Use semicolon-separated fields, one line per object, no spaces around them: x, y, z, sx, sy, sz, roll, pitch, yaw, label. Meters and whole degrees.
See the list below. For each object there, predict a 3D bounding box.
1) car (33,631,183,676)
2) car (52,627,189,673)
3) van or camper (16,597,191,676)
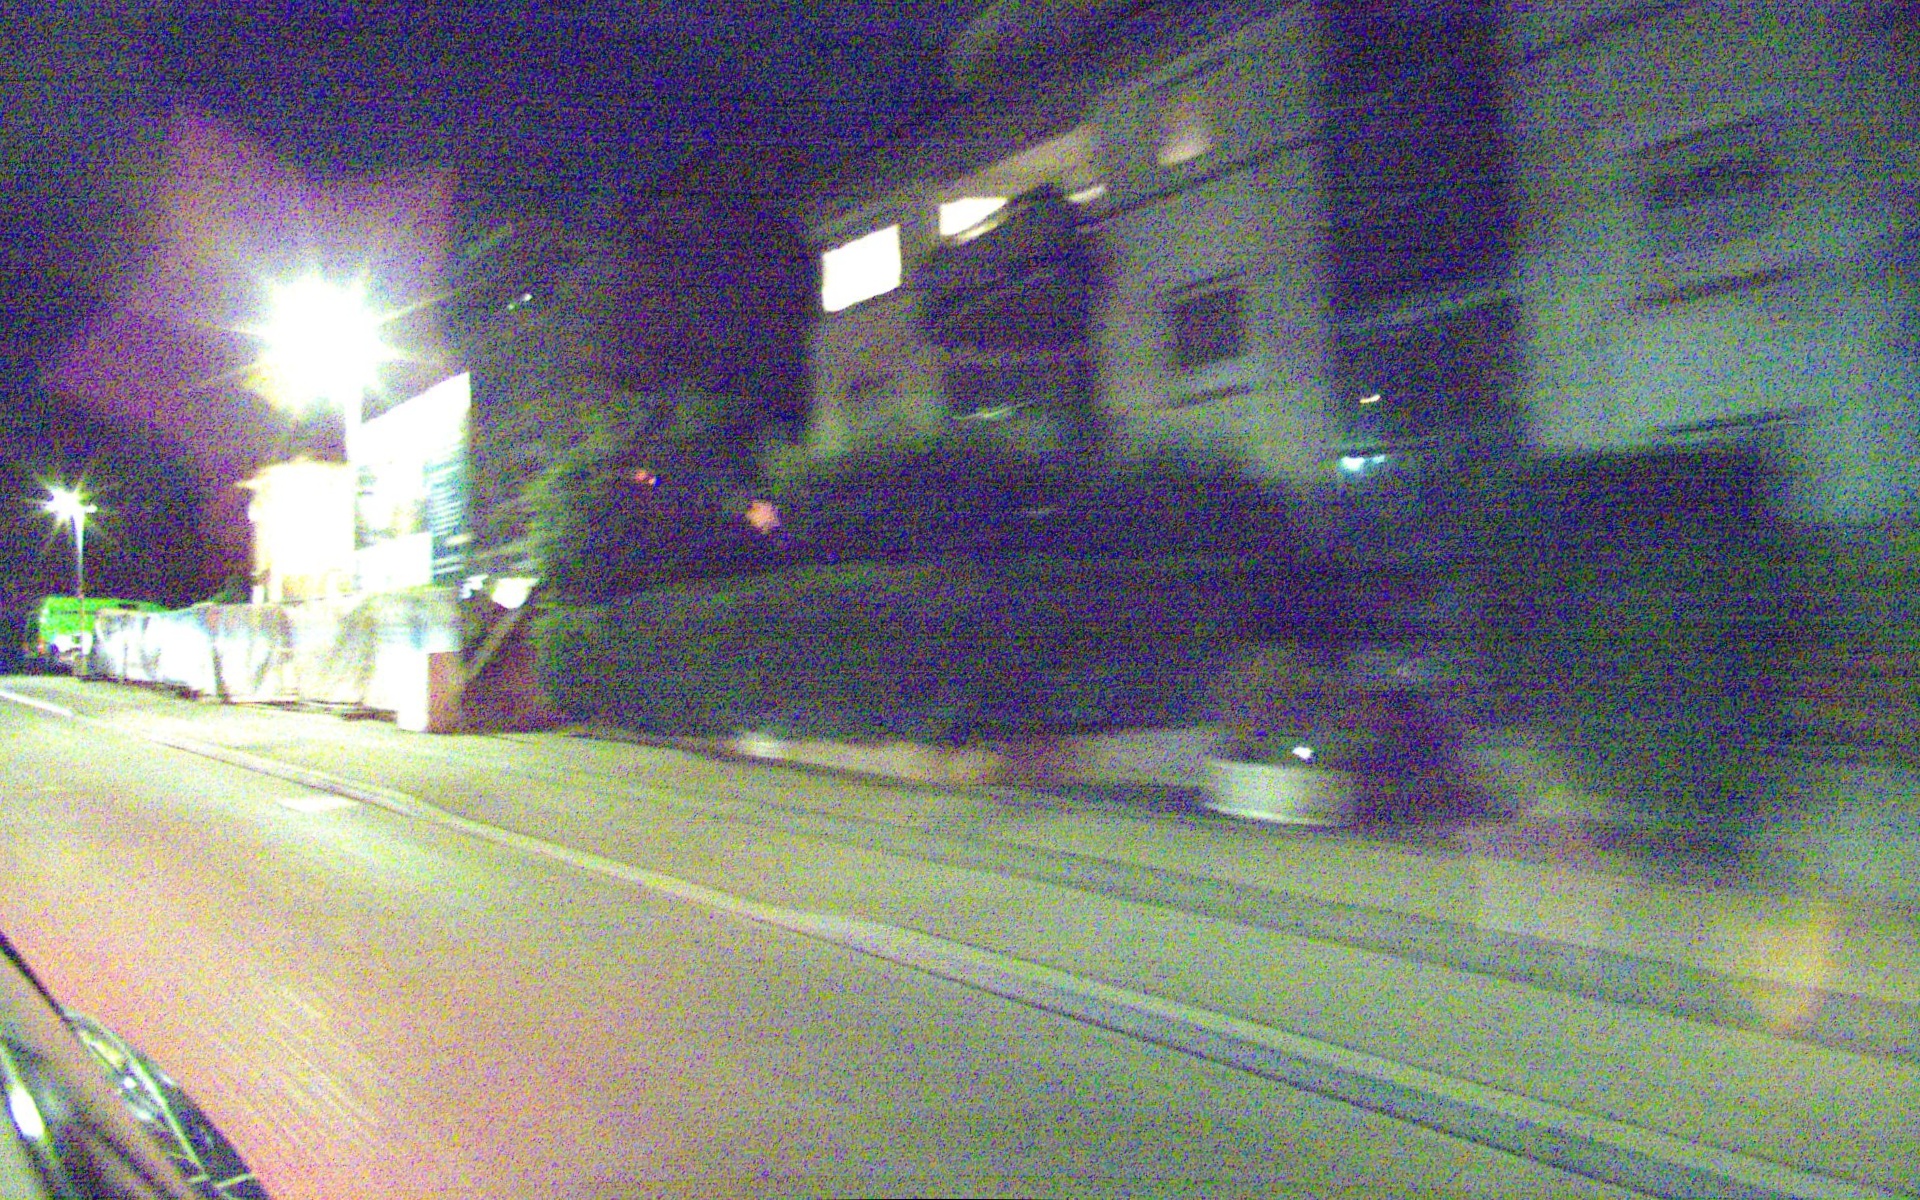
-34.036;2.110;40.526;2.064;1.625;4.370;-2;-2;42;car
-31.967;1.886;38.608;1.926;1.567;3.772;-5;-3;40;car
-36.565;1.514;43.375;2.125;3.134;5.359;-2;-2;31;van or camper
